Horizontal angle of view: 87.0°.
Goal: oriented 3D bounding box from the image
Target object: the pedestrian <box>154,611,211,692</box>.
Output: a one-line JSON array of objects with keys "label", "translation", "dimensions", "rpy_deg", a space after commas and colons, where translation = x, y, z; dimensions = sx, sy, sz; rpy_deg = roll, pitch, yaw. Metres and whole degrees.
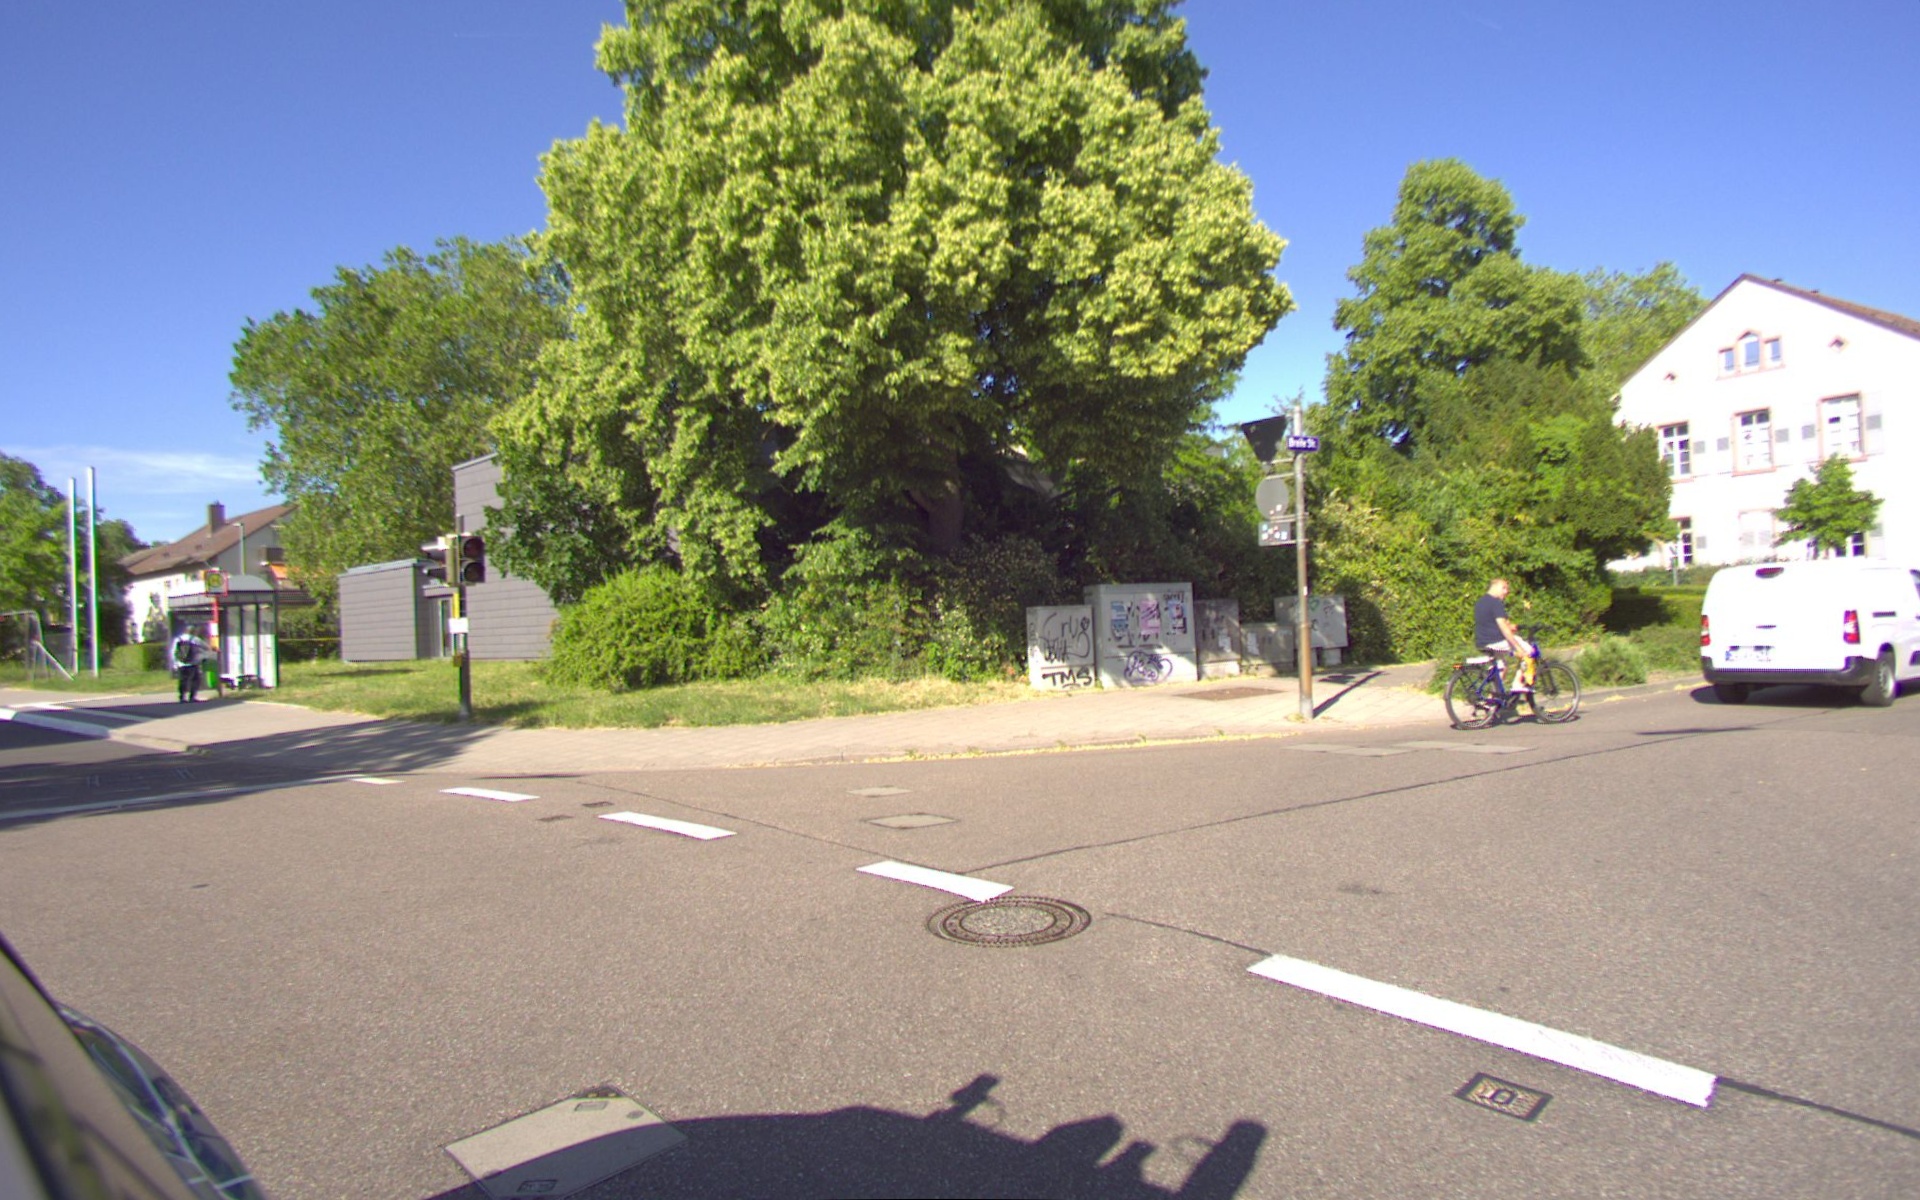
[{"label": "pedestrian", "translation": [-18.303, 1.194, 23.847], "dimensions": [0.706, 1.816, 0.773], "rpy_deg": [-3, 2, -12]}]

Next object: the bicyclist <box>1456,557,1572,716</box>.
[{"label": "bicyclist", "translation": [6.521, 0.421, 11.947], "dimensions": [0.838, 1.802, 0.769], "rpy_deg": [-1, -2, -14]}]

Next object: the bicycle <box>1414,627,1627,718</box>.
[{"label": "bicycle", "translation": [6.609, 0.827, 11.952], "dimensions": [2.252, 0.947, 0.779], "rpy_deg": [-1, -1, -14]}]

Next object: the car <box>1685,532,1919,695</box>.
[{"label": "car", "translation": [11.951, 0.122, 13.617], "dimensions": [4.483, 1.862, 1.969], "rpy_deg": [-2, -1, -32]}]
